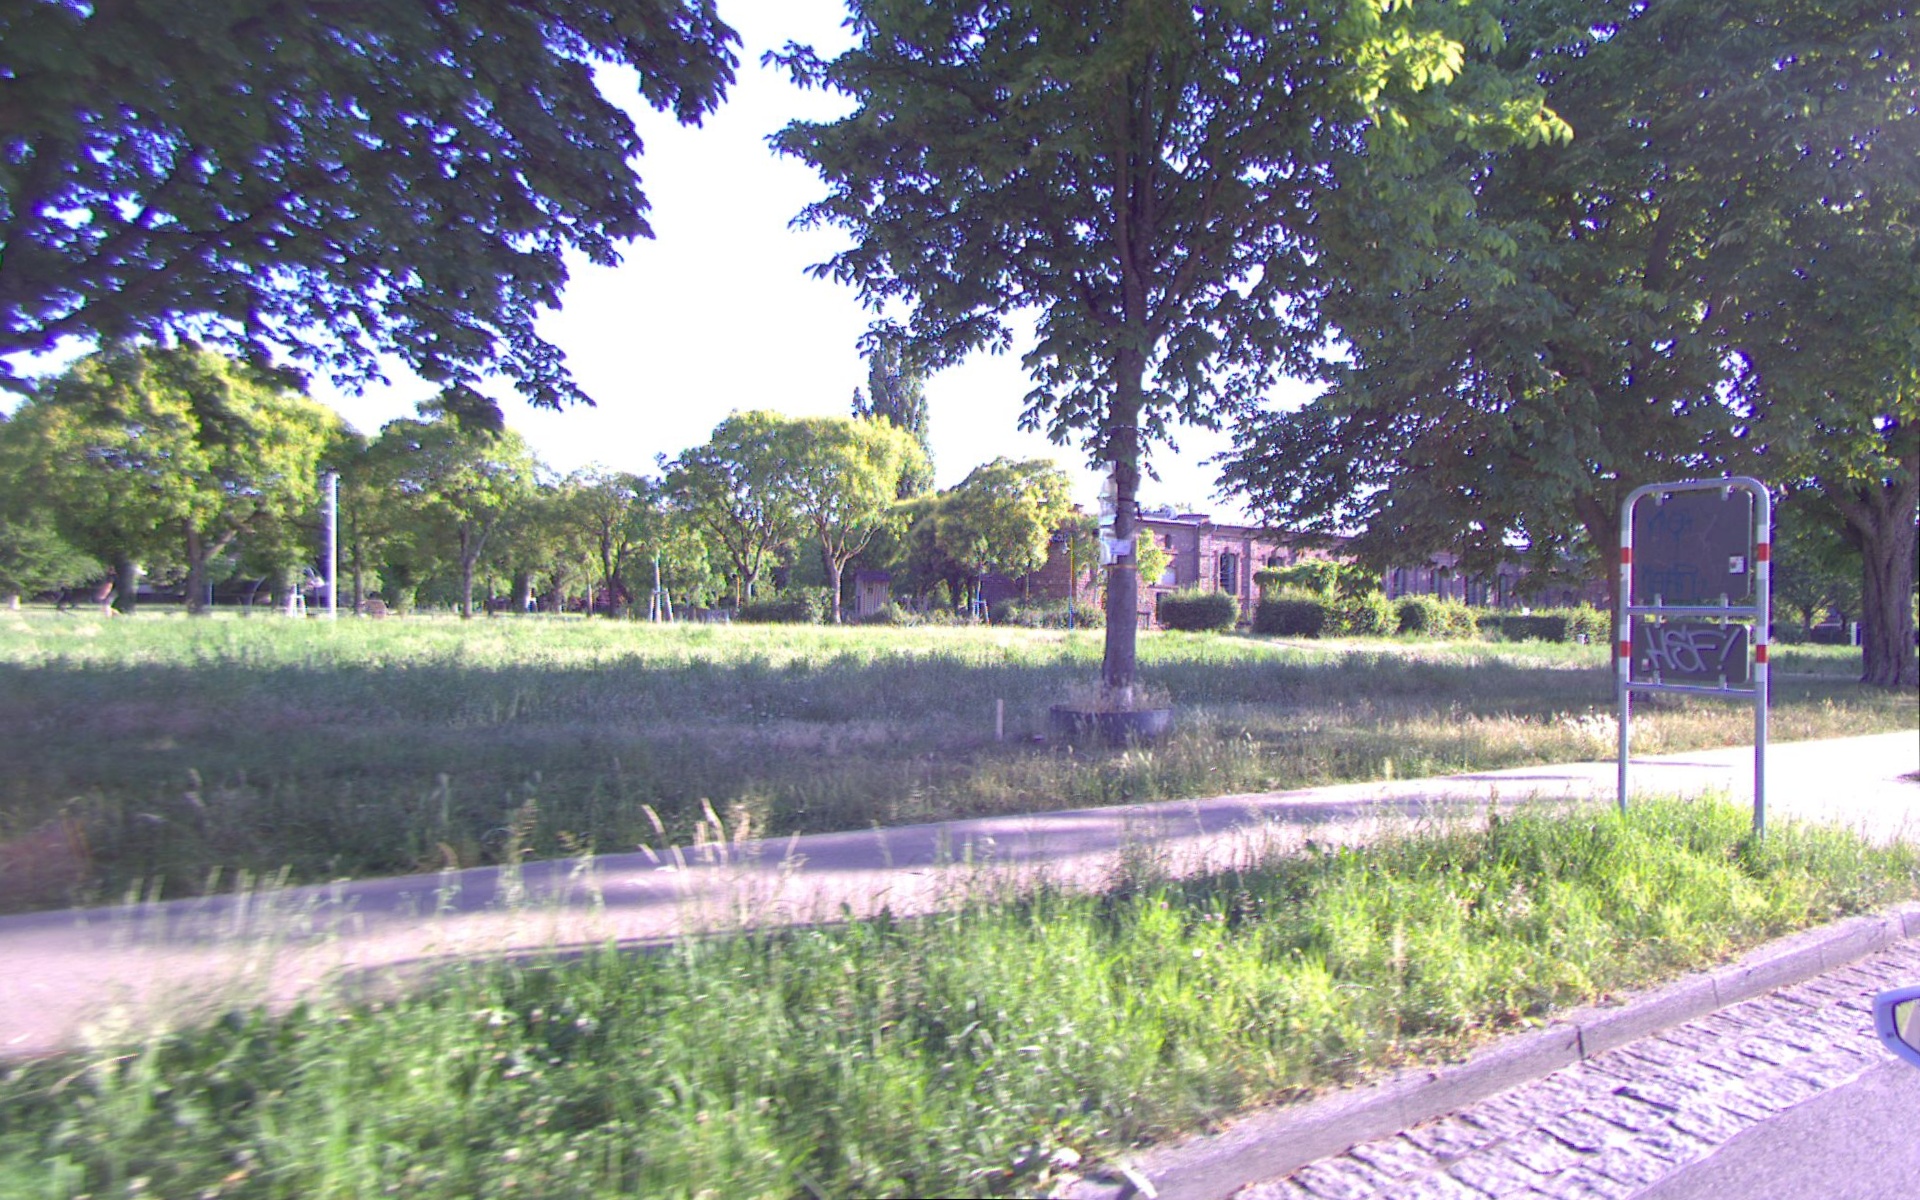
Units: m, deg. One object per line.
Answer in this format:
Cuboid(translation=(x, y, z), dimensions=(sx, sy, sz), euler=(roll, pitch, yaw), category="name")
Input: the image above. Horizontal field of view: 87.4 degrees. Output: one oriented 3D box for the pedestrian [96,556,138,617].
Cuboid(translation=(-24.975, -0.400, 29.751), dimensions=(0.764, 1.747, 0.714), euler=(2, 0, 32), category="pedestrian")
